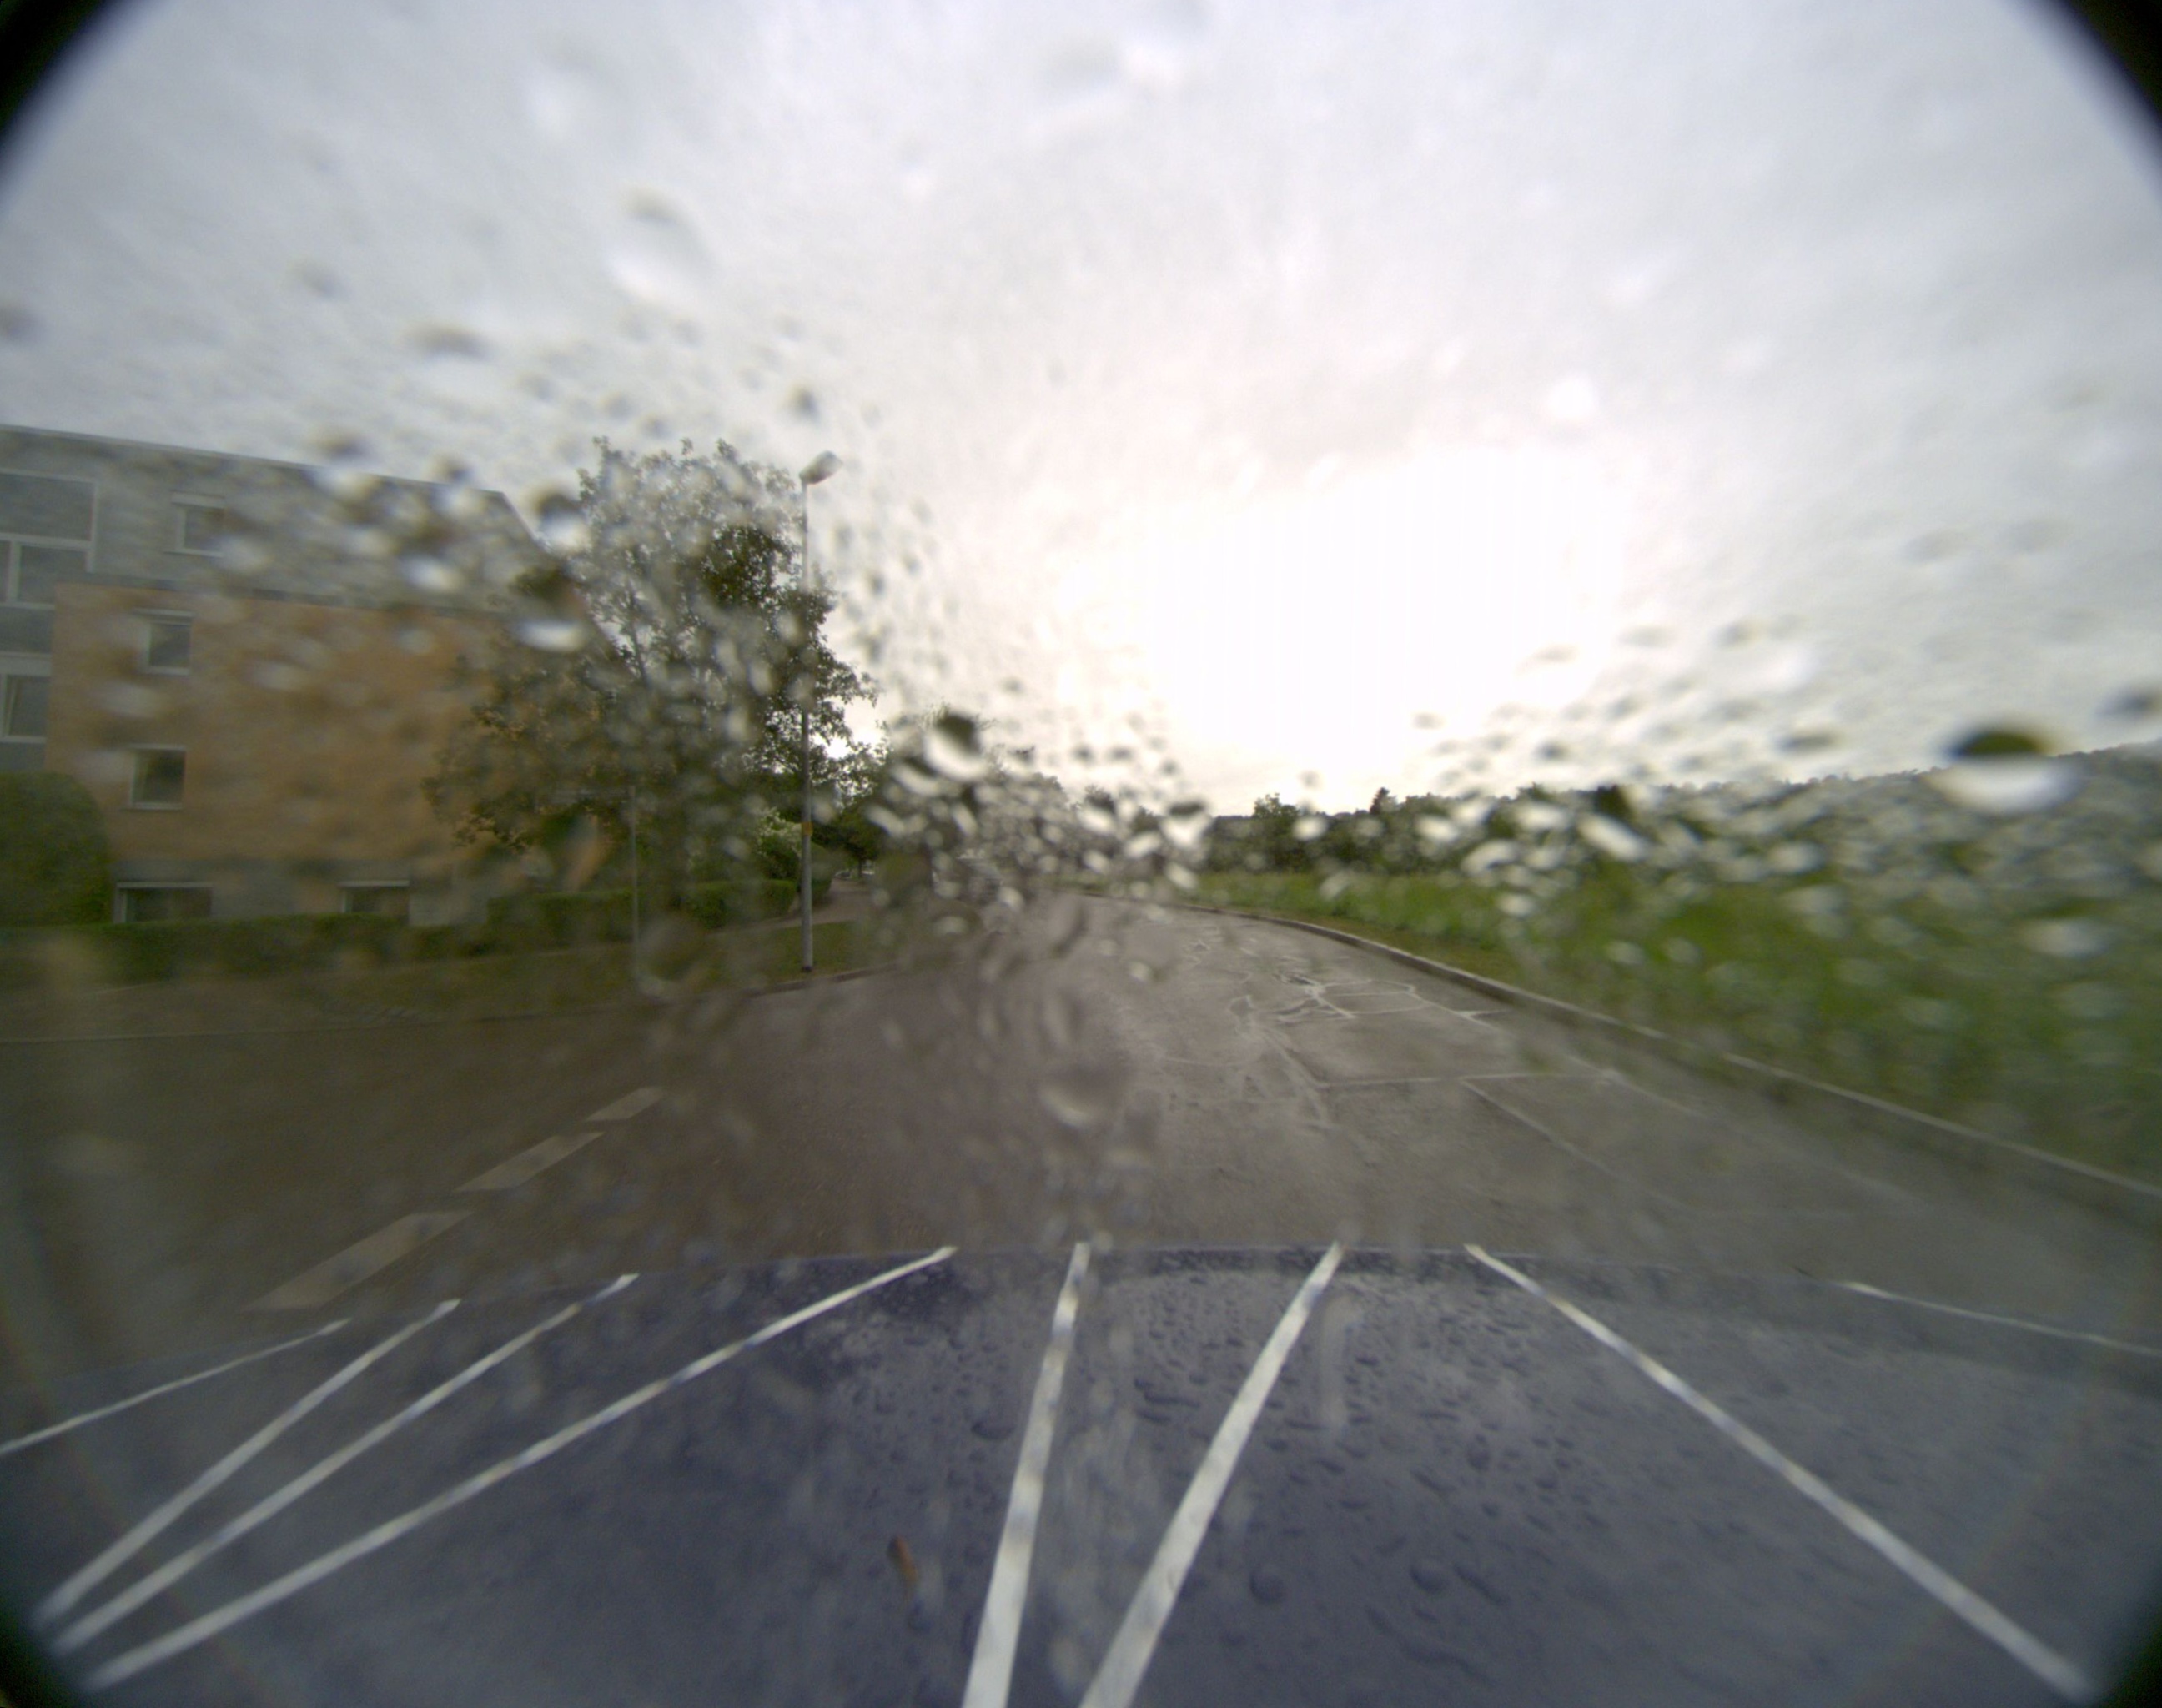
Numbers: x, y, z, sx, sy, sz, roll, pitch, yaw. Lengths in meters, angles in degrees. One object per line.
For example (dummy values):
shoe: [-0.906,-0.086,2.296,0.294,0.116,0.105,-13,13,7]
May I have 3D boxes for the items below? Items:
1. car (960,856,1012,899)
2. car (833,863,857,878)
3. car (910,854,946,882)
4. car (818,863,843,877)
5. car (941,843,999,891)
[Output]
car: [-4.285,0.980,33.782,1.818,1.717,4.646,-1,1,-13]
car: [-31.297,2.155,100.884,1.980,1.838,3.990,-2,1,-33]
car: [-10.871,0.960,53.912,1.827,1.775,3.811,-1,1,-22]
car: [-34.899,2.164,105.887,1.980,1.838,3.989,-2,1,-38]
car: [-5.869,0.644,39.586,2.056,2.317,5.399,-1,0,-18]
